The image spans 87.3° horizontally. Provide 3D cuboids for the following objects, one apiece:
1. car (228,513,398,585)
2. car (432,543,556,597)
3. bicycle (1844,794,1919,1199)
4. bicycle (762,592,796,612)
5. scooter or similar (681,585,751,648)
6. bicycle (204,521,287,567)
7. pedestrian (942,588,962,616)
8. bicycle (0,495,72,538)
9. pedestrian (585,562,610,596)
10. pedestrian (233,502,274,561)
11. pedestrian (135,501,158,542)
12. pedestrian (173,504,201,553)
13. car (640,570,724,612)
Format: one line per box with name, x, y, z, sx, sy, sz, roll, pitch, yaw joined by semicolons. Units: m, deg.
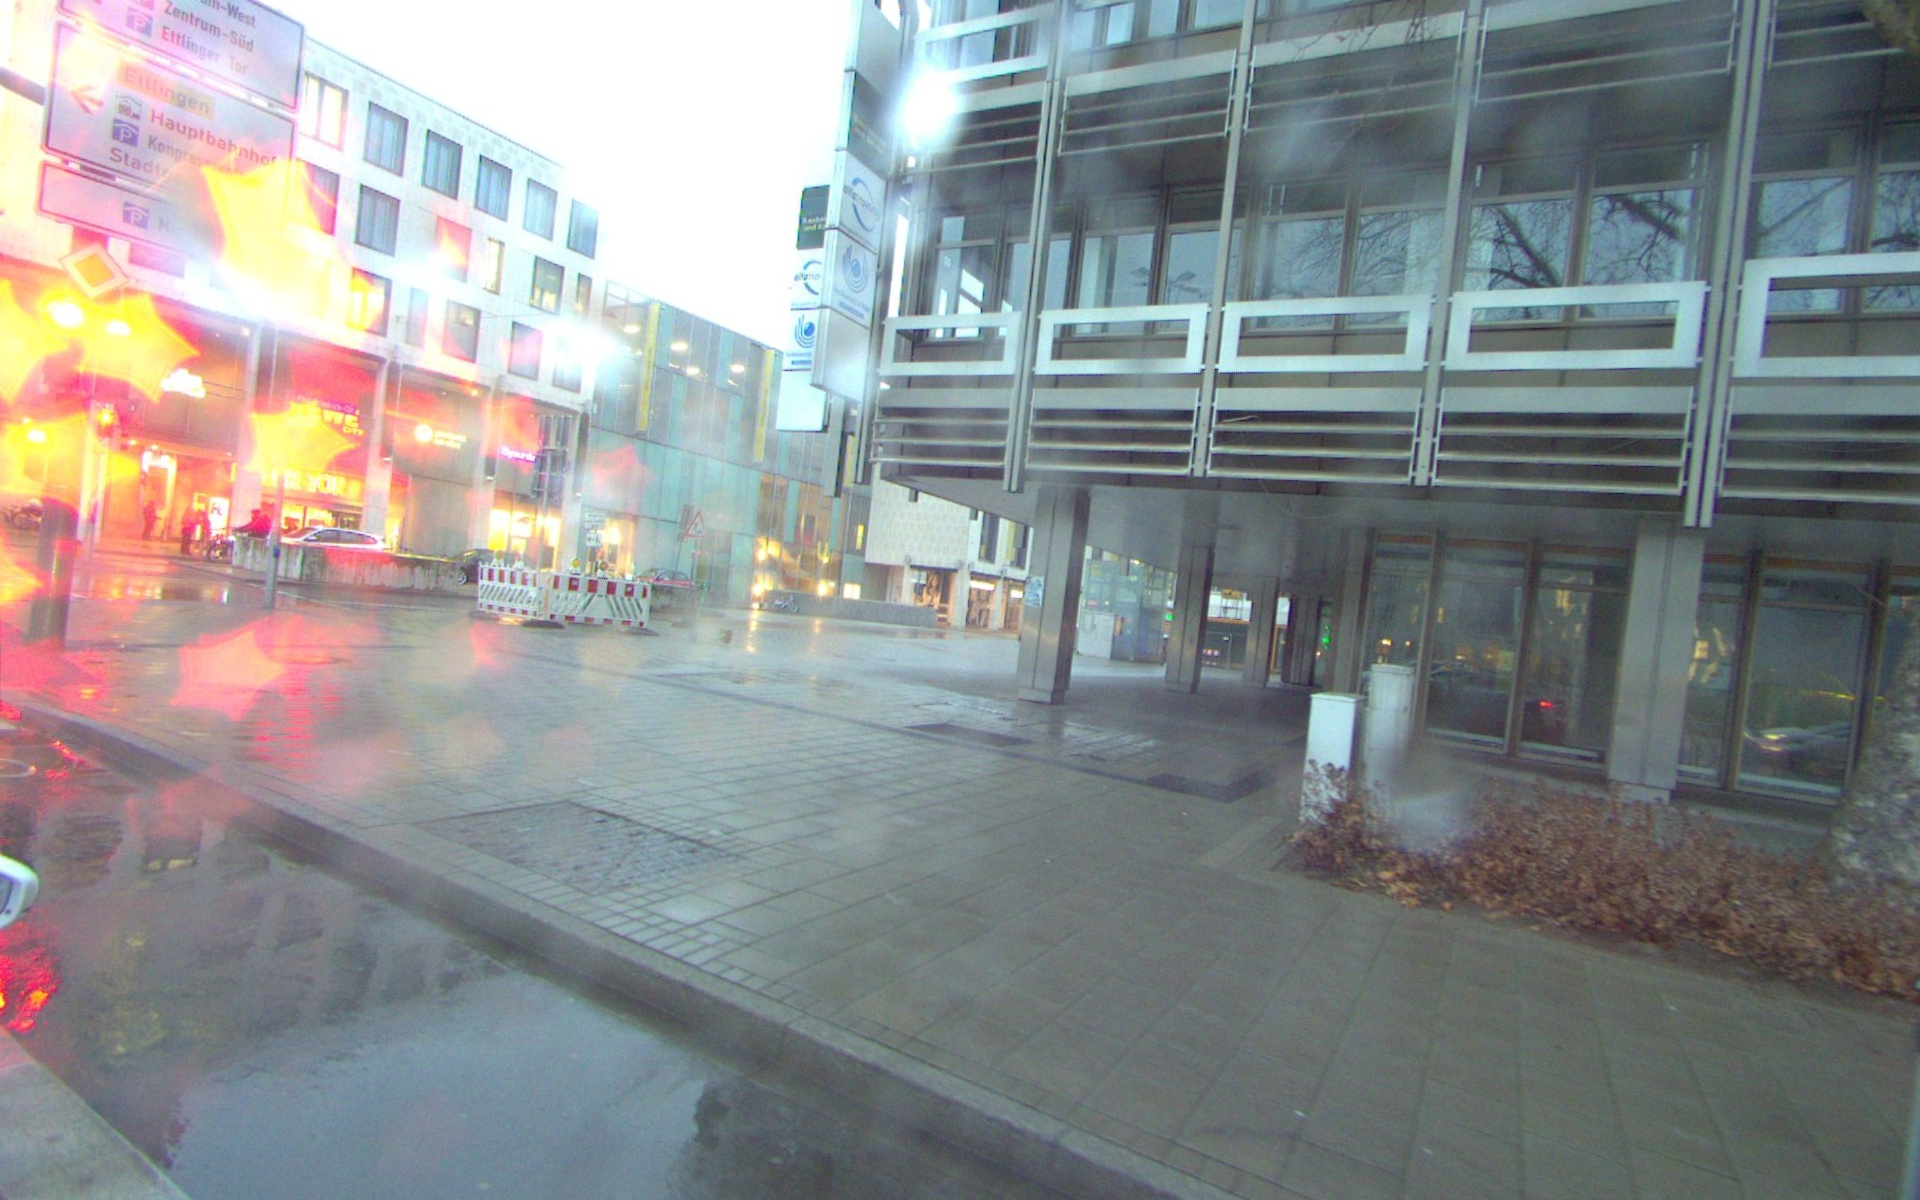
car;-21.343;-1.629;33.340;1.680;1.783;4.305;7;0;34
car;-18.010;-1.130;39.051;1.648;1.601;4.056;6;-1;29
bicycle;2.862;1.224;2.524;0.428;1.163;1.753;7;2;27
bicycle;-11.199;0.123;62.211;2.101;1.046;0.616;6;0;33
scooter or similar;-4.965;0.332;20.475;1.215;1.144;0.606;7;1;32
bicycle;-20.777;-1.620;29.273;1.839;1.107;0.610;7;0;-44
pedestrian;-0.633;0.160;79.307;0.901;2.037;1.011;8;-1;-40
bicycle;-36.227;-3.251;39.104;0.623;1.345;2.431;7;0;27
pedestrian;-18.801;-1.082;52.123;0.697;1.650;0.795;6;-1;32
pedestrian;-20.631;-2.006;29.369;0.778;1.615;0.605;6;1;-43
pedestrian;-35.972;-3.476;44.464;0.529;1.739;0.500;6;1;-21
pedestrian;-28.146;-2.594;36.641;0.529;1.706;0.546;6;1;-21
car;-12.940;-0.396;47.036;1.648;1.601;3.575;6;0;29
